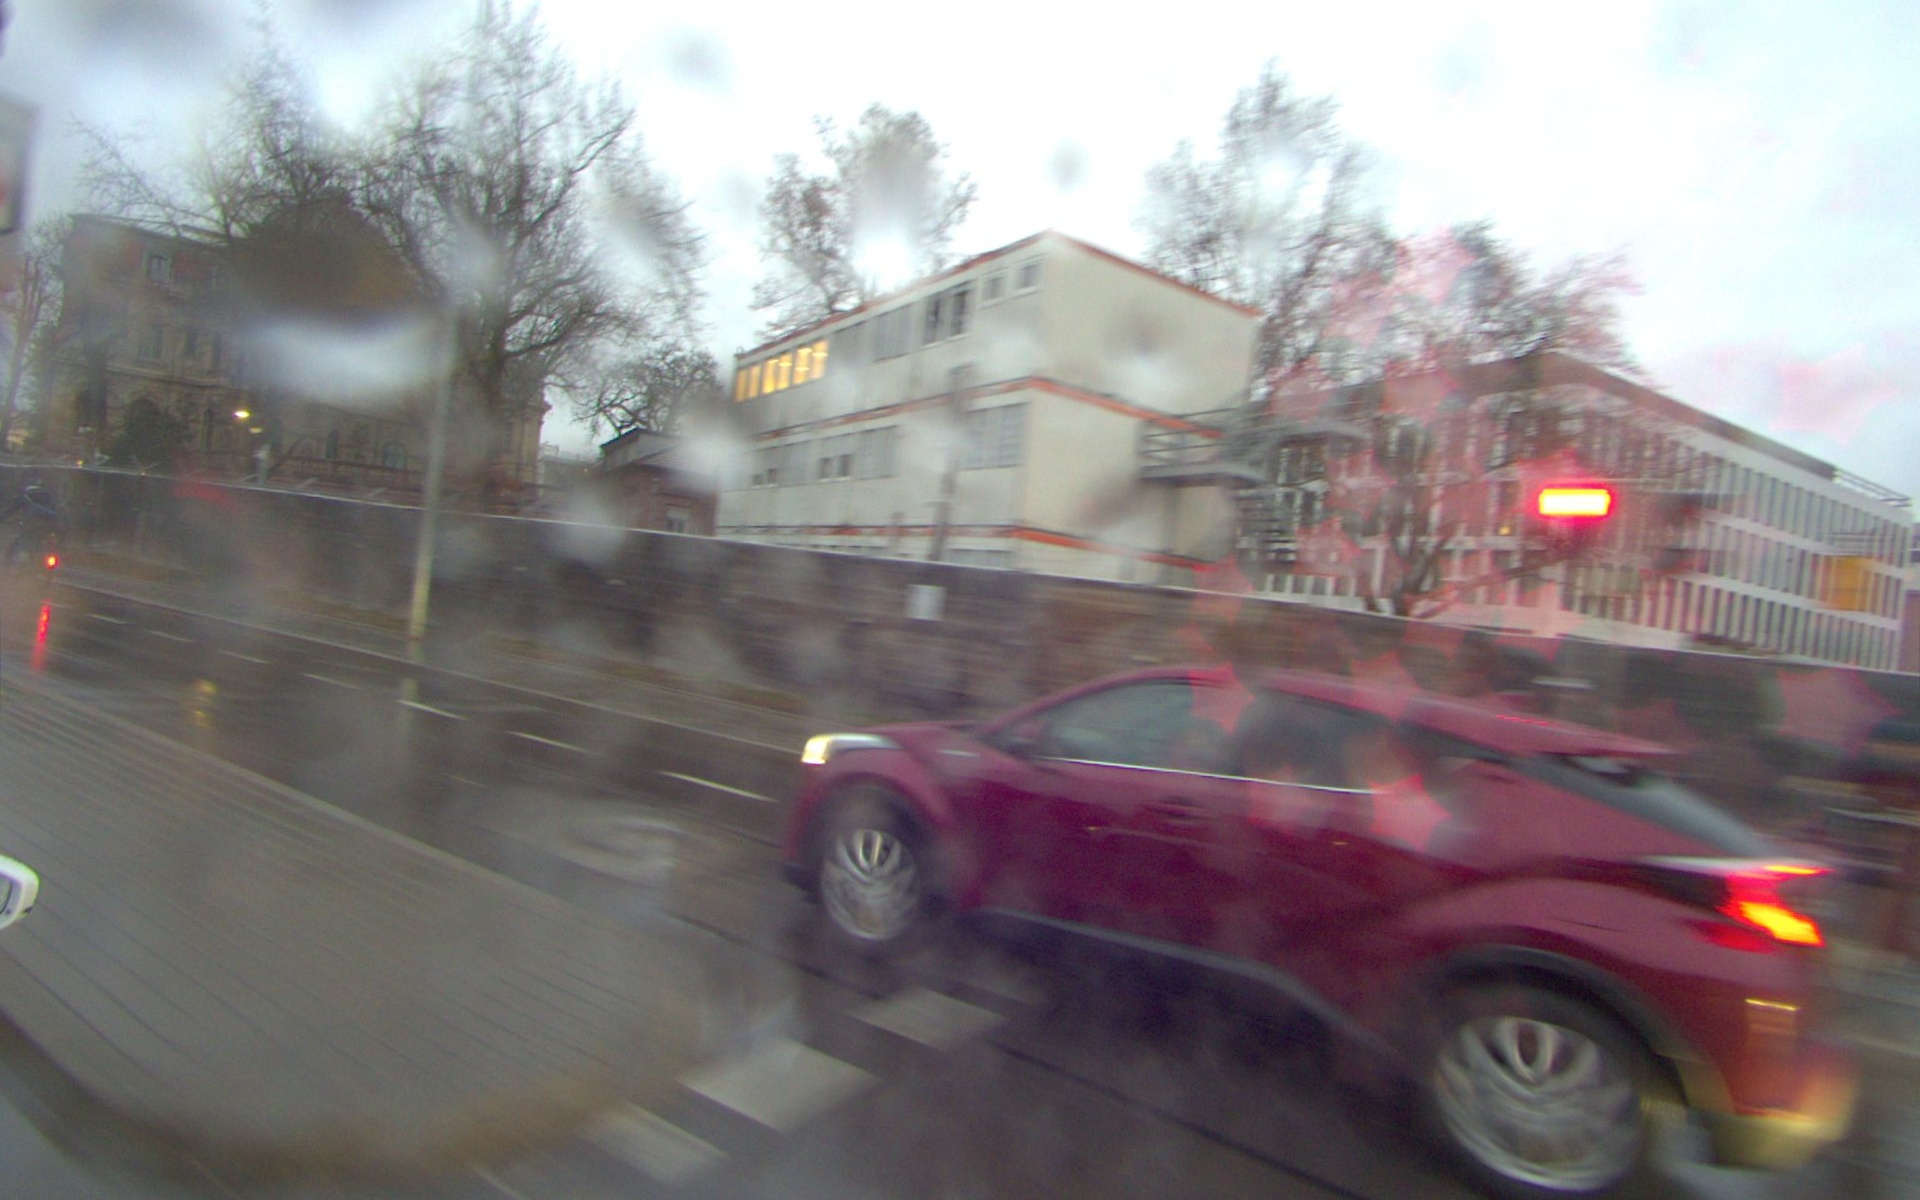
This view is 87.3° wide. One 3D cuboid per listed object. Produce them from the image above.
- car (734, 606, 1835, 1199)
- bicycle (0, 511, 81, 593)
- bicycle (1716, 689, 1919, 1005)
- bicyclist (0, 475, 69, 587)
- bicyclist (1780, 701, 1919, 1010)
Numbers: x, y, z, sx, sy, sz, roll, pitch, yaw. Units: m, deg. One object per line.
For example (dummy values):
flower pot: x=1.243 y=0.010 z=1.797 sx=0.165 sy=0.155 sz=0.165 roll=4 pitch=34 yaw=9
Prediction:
car: x=1.082 y=1.029 z=4.480 sx=3.937 sy=1.496 sz=1.725 roll=6 pitch=-3 yaw=34
bicycle: x=-15.741 y=-0.831 z=17.139 sx=1.994 sy=1.200 sz=0.412 roll=7 pitch=1 yaw=28
bicycle: x=5.835 y=1.529 z=6.277 sx=2.219 sy=1.676 sz=0.686 roll=8 pitch=-2 yaw=-24
bicyclist: x=-15.800 y=-1.175 z=17.167 sx=0.823 sy=1.789 sz=0.501 roll=7 pitch=1 yaw=28
bicyclist: x=5.819 y=1.544 z=6.247 sx=0.807 sy=1.699 sz=0.693 roll=7 pitch=0 yaw=-24
